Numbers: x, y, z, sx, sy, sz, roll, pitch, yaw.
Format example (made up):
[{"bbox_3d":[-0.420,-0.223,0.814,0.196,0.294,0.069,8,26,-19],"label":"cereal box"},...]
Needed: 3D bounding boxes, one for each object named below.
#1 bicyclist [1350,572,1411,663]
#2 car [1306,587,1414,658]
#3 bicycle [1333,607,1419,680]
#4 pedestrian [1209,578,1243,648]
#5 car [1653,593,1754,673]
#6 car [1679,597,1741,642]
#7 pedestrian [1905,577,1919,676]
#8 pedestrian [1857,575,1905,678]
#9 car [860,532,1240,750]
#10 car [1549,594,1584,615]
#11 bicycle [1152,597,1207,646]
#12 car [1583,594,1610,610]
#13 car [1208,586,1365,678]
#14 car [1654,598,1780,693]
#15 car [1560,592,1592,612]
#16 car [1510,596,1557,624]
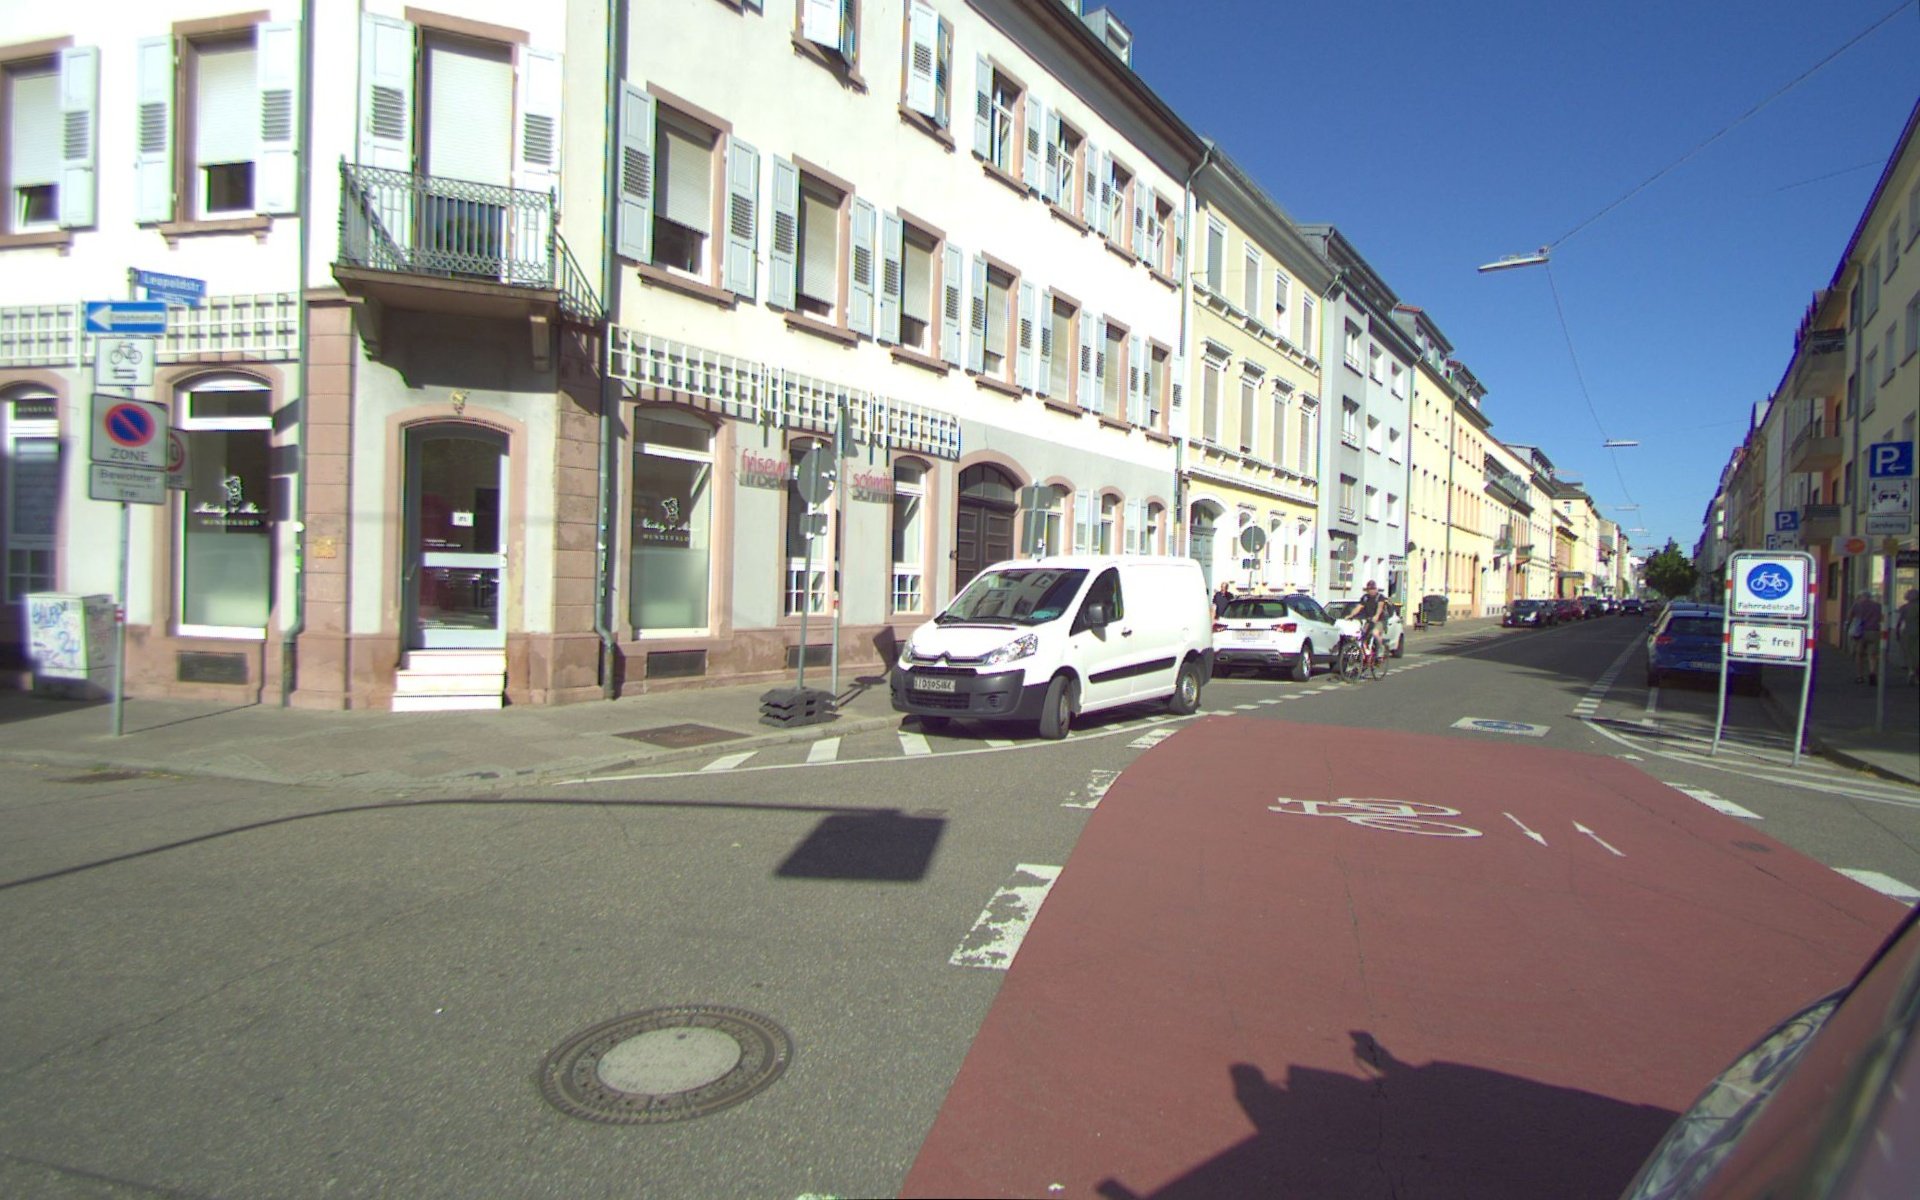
[{"bbox_3d":[7.505,0.298,18.050,1.008,1.566,0.637,1,0,-43],"label":"bicyclist"},{"bbox_3d":[9.735,0.500,24.496,1.622,1.561,3.592,0,0,36],"label":"car"},{"bbox_3d":[7.401,0.741,17.961,1.893,1.214,0.671,1,0,-43],"label":"bicycle"},{"bbox_3d":[6.326,0.302,24.072,0.581,1.621,0.631,1,1,36],"label":"pedestrian"},{"bbox_3d":[17.392,0.703,23.743,1.697,1.555,3.593,5,4,36],"label":"car"},{"bbox_3d":[27.965,0.685,37.821,1.697,1.451,3.593,5,4,36],"label":"car"},{"bbox_3d":[17.723,0.483,18.295,0.739,1.786,0.829,1,1,-41],"label":"pedestrian"},{"bbox_3d":[17.155,0.478,18.852,0.695,1.880,0.569,0,-1,-43],"label":"pedestrian"},{"bbox_3d":[1.290,0.348,11.772,2.040,1.970,4.956,2,1,38],"label":"car"},{"bbox_3d":[39.852,0.286,66.488,1.697,1.315,3.592,2,1,36],"label":"car"},{"bbox_3d":[5.331,0.494,24.467,0.414,1.108,2.194,2,1,36],"label":"bicycle"},{"bbox_3d":[54.471,0.150,86.595,1.697,1.315,3.592,2,1,36],"label":"car"},{"bbox_3d":[6.350,0.542,19.361,1.635,1.561,4.326,0,0,36],"label":"car"},{"bbox_3d":[14.429,0.777,19.401,1.697,1.451,3.593,5,4,36],"label":"car"},{"bbox_3d":[44.415,0.125,72.946,1.697,1.315,3.592,2,1,36],"label":"car"},{"bbox_3d":[29.302,0.472,51.678,1.697,1.315,3.592,2,1,36],"label":"car"}]
